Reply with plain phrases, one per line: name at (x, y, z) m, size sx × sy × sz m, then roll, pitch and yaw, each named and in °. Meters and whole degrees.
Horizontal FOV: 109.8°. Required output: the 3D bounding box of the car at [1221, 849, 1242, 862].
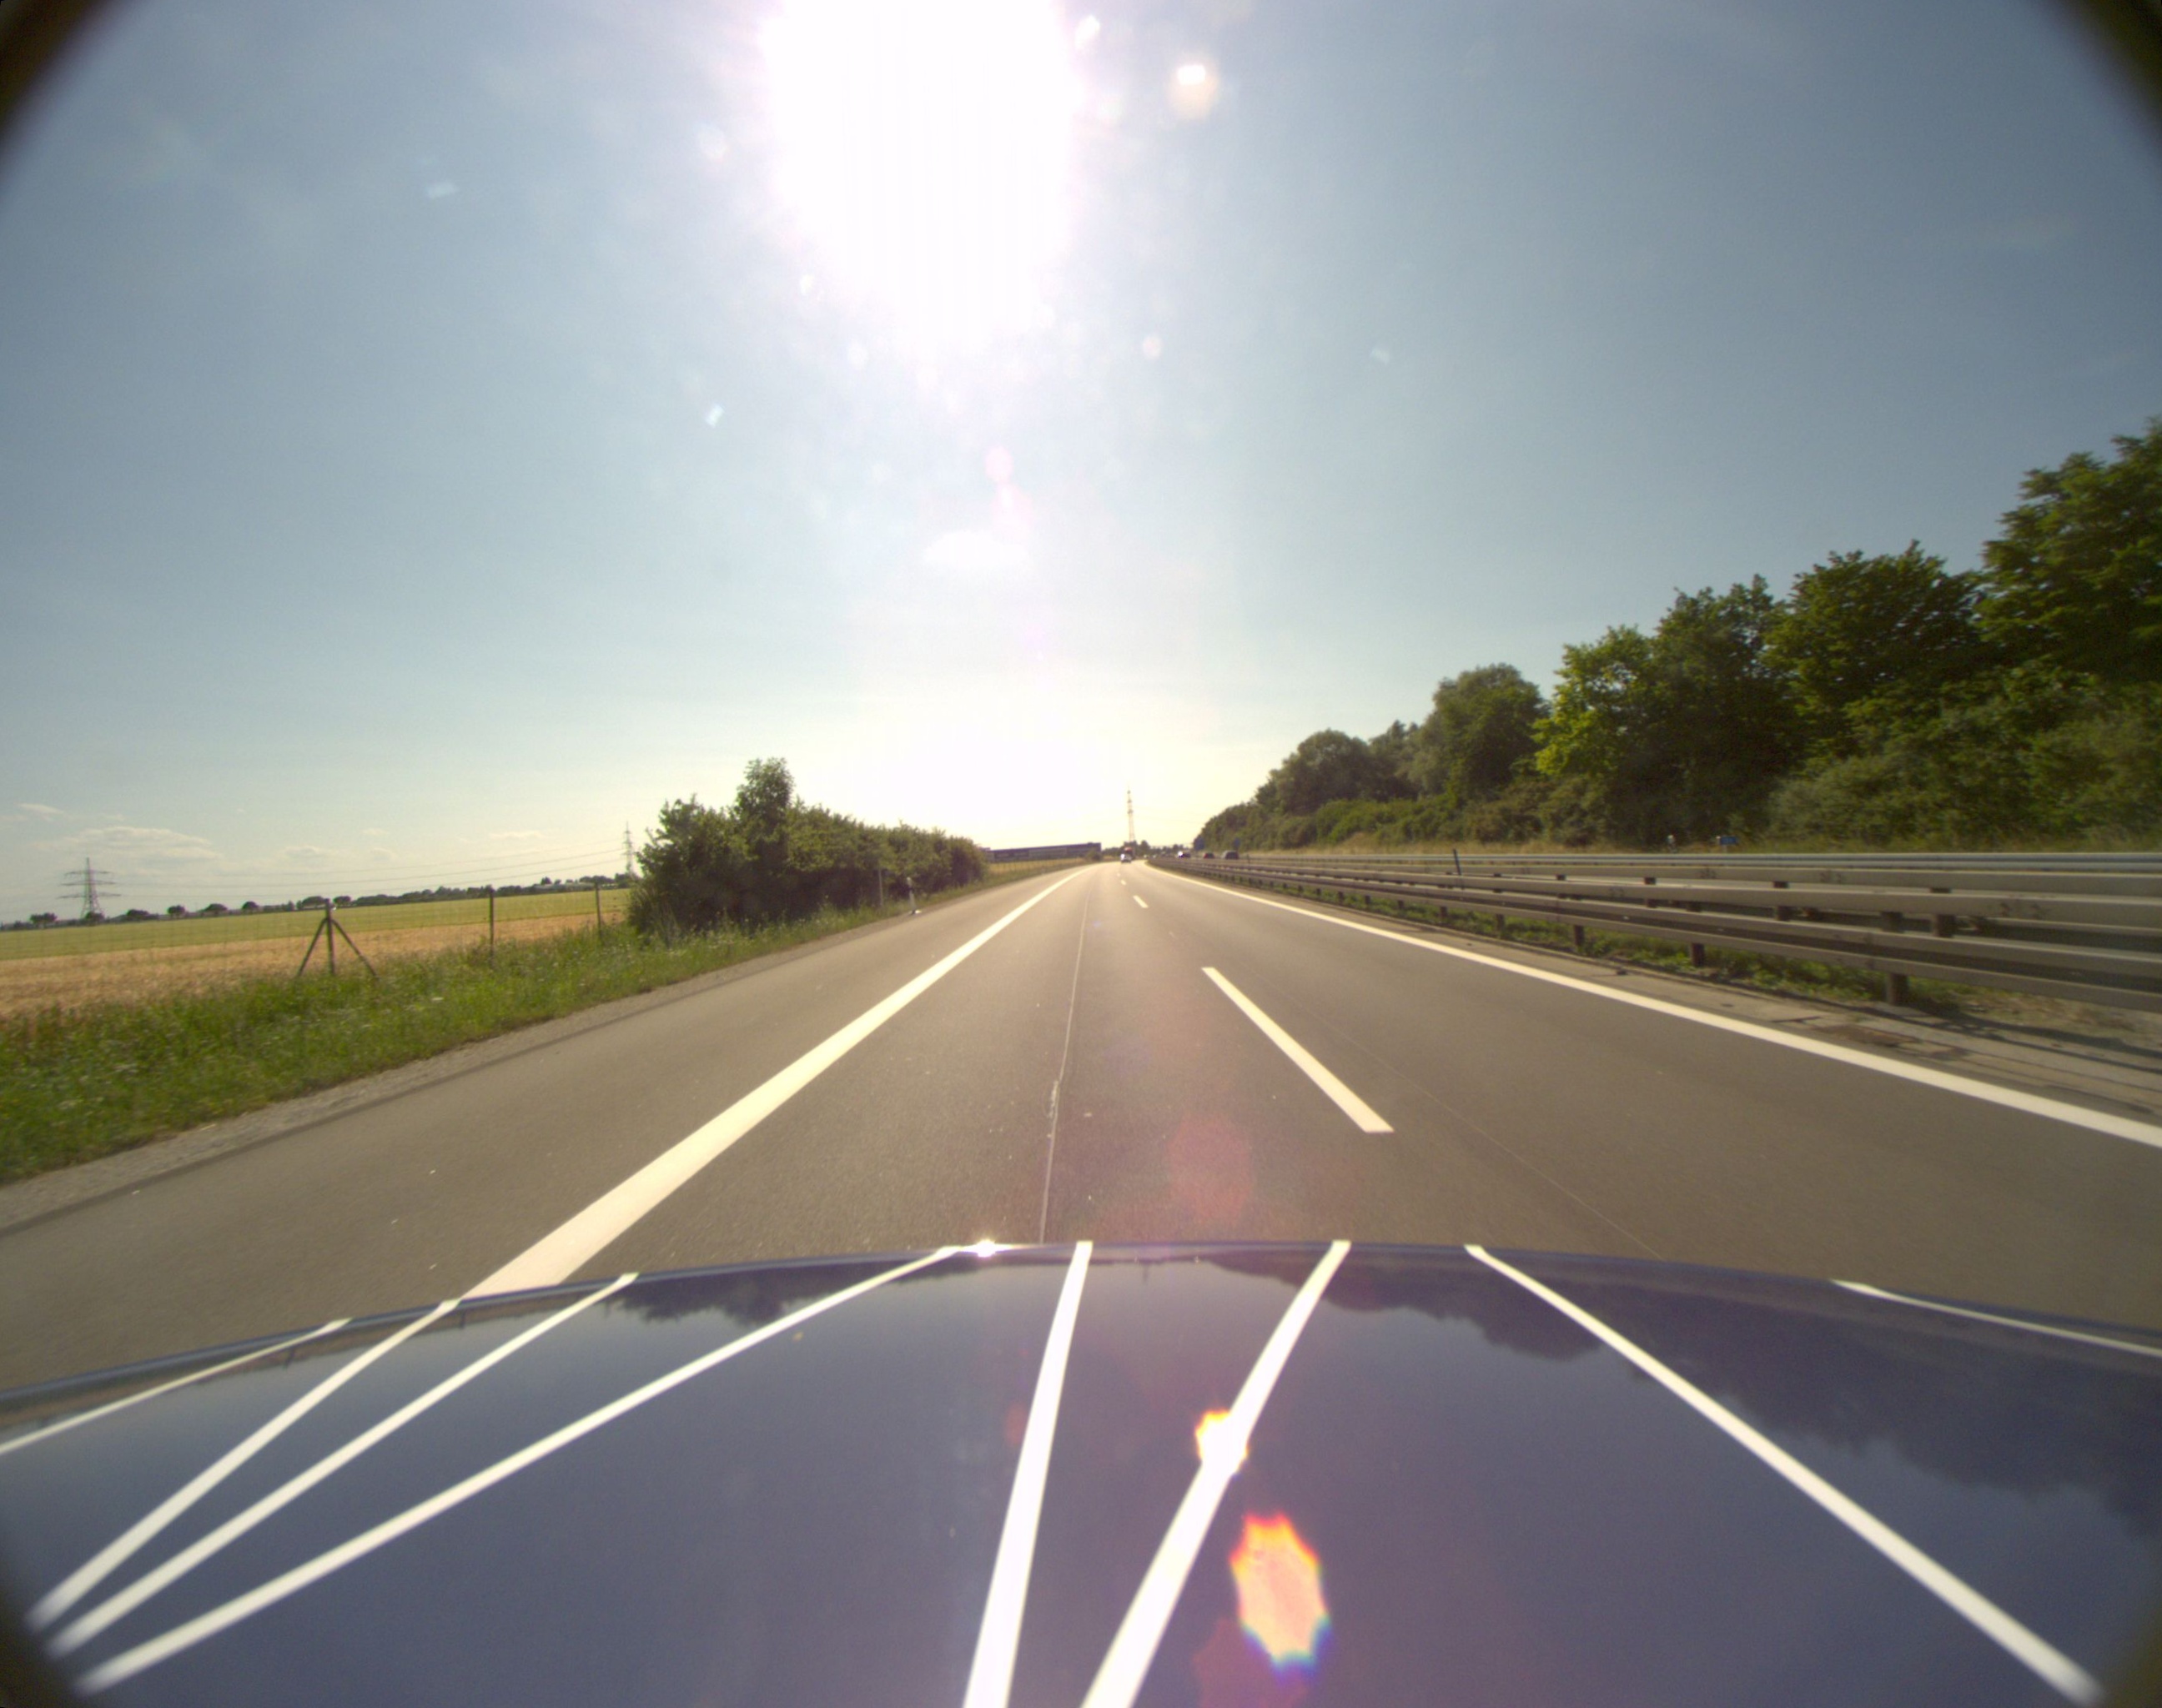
car at (17.683, 0.127, 89.330) m, size 1.666 × 1.414 × 4.000 m, roll -3°, pitch 0°, yaw 2°

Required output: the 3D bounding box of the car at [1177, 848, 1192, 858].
car at (15.275, -0.170, 111.929) m, size 1.666 × 1.414 × 4.000 m, roll -3°, pitch 0°, yaw 2°

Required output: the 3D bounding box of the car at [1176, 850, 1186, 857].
car at (24.747, -0.196, 188.083) m, size 1.755 × 1.555 × 4.580 m, roll -4°, pitch 0°, yaw 2°

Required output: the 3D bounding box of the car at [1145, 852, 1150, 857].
car at (22.907, 0.089, 261.787) m, size 1.755 × 1.555 × 4.581 m, roll -4°, pitch 0°, yaw 3°

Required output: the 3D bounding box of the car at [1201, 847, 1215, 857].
car at (19.572, -0.254, 116.972) m, size 1.582 × 1.453 × 4.153 m, roll -3°, pitch 0°, yaw 3°

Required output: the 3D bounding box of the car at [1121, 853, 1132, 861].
car at (8.769, 0.560, 145.737) m, size 1.859 × 1.361 × 4.001 m, roll -3°, pitch 0°, yaw 6°
